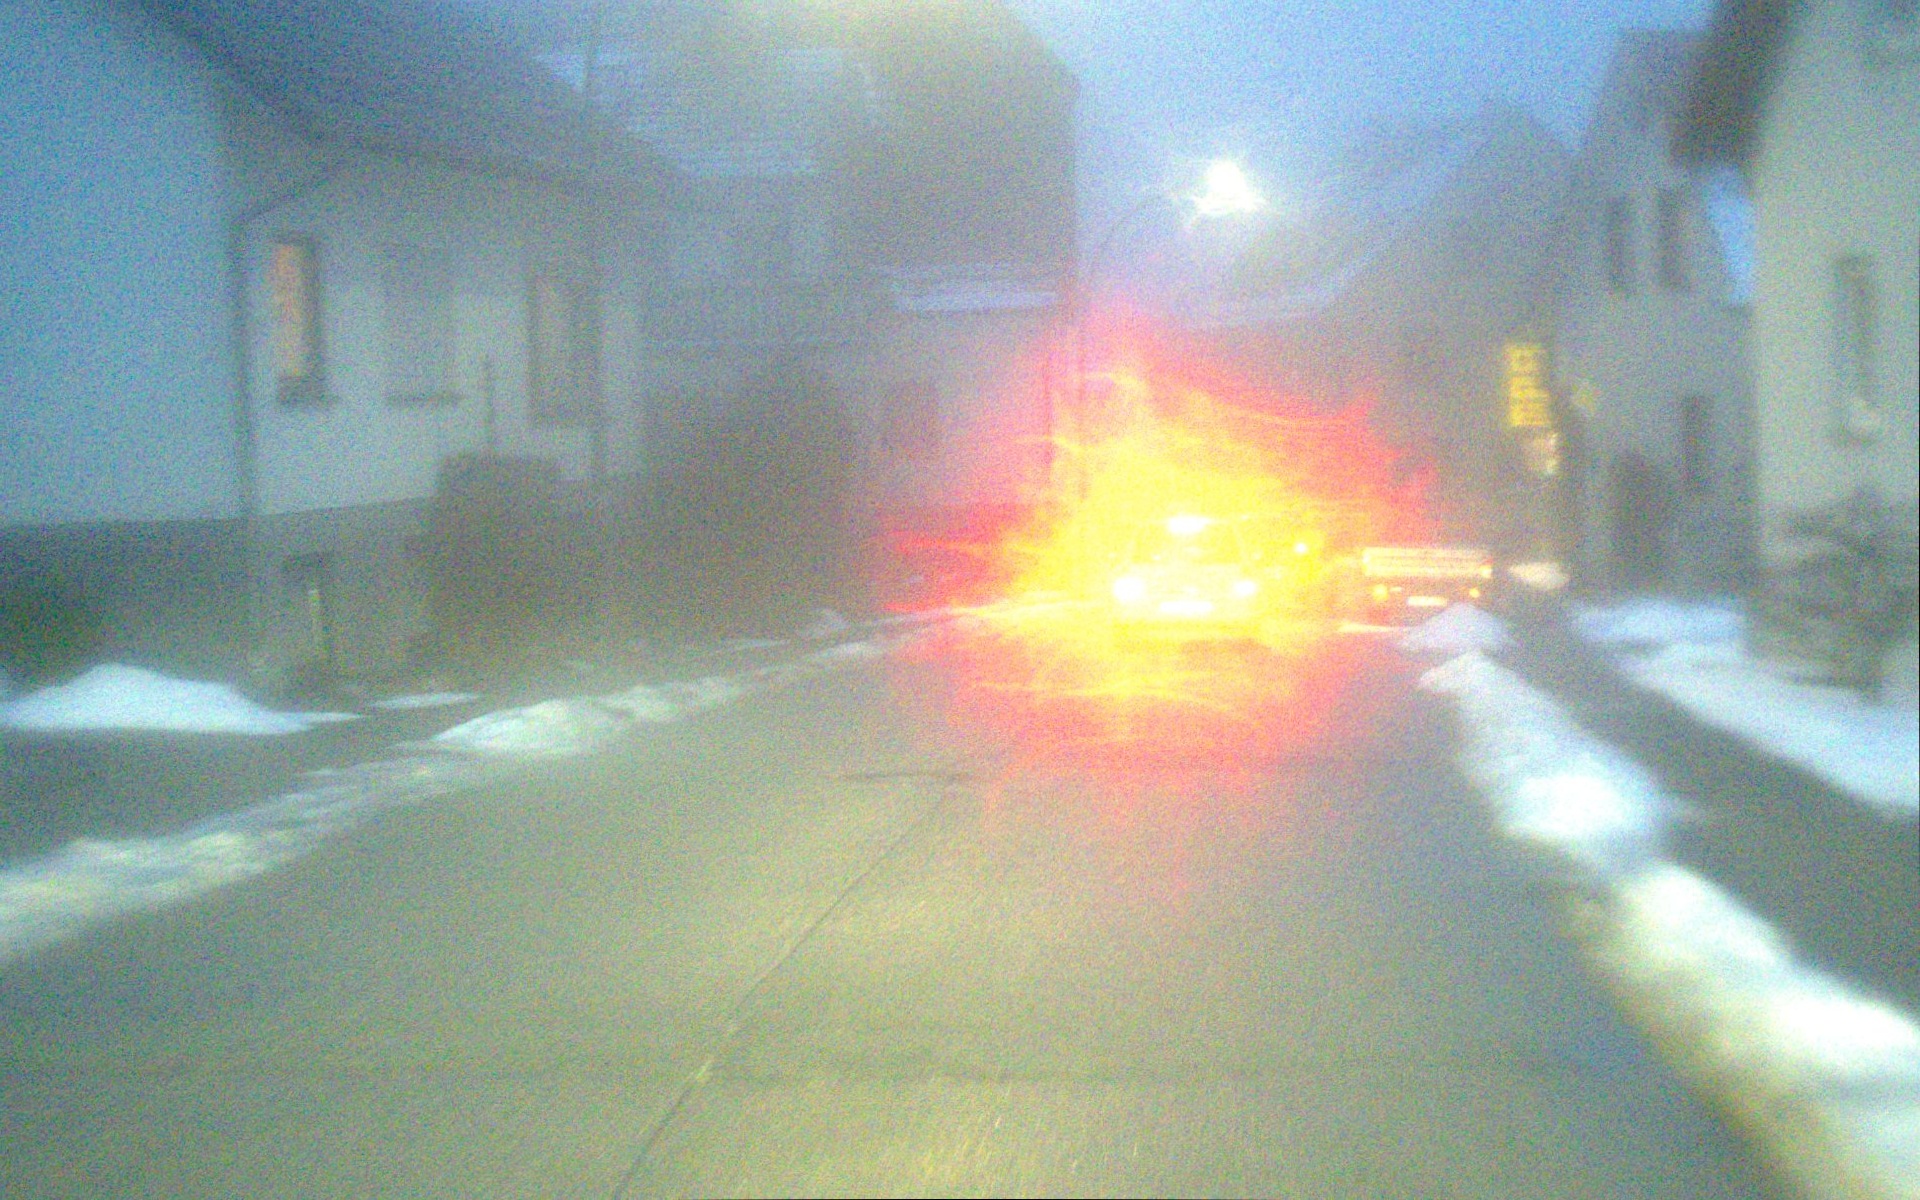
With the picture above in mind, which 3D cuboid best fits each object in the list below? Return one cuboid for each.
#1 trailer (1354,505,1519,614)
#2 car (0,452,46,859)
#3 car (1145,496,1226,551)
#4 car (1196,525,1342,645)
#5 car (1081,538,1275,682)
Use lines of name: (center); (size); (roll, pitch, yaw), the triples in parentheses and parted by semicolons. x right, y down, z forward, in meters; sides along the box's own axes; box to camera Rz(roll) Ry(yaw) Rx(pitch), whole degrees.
trailer: (6.572, -0.598, 47.053); (1.994, 1.383, 4.729); (1, 2, 11)
car: (-6.367, 0.196, 13.907); (4.793, 1.661, 1.889); (1, 0, 10)
car: (6.382, -2.205, 97.728); (1.910, 1.476, 4.282); (-1, 2, -1)
car: (4.718, -0.233, 52.075); (1.994, 1.722, 3.999); (1, 1, 8)
car: (2.495, 0.085, 38.505); (1.994, 1.503, 3.999); (1, 1, 6)
